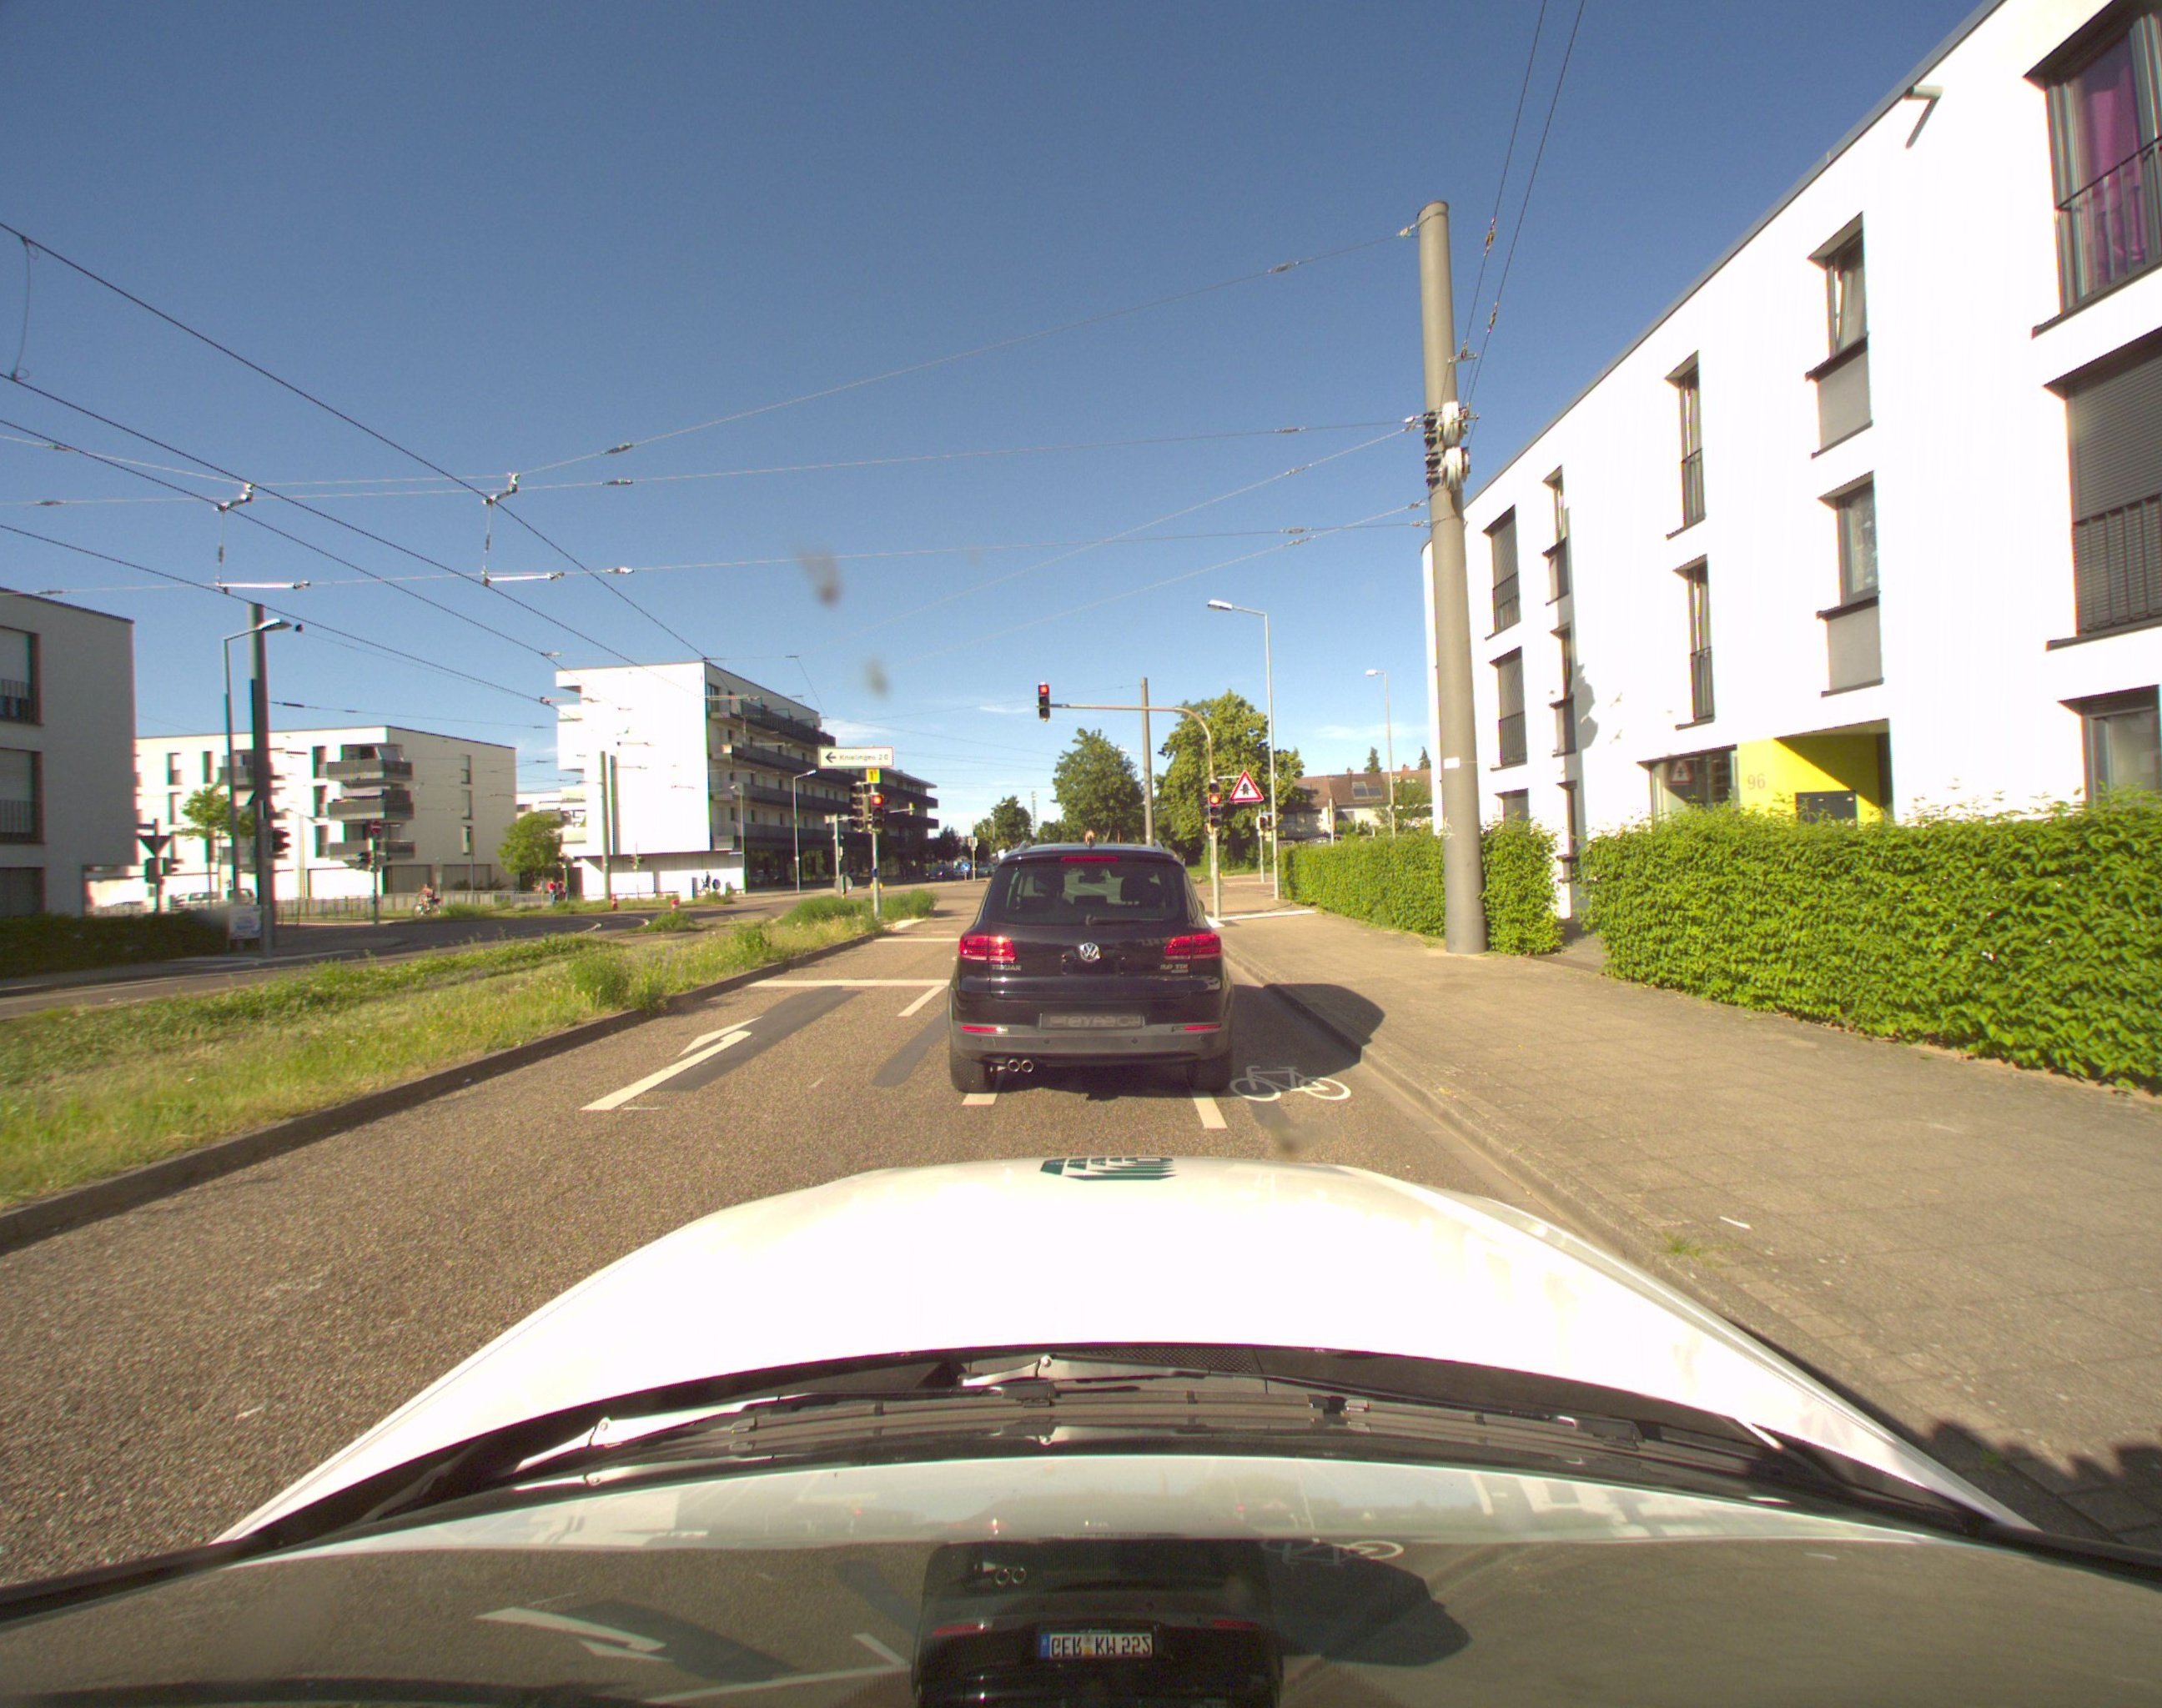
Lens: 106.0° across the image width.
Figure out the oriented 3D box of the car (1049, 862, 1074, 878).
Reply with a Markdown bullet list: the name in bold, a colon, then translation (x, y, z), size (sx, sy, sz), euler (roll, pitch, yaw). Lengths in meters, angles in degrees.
- **car**: translation (-2.013, 1.695, 85.765), size (1.852, 1.485, 4.121), euler (-3, 0, 9)

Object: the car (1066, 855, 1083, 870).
- **car**: translation (-0.822, 1.084, 103.810), size (1.855, 1.720, 3.690), euler (-2, 0, 4)

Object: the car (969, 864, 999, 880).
- **car**: translation (-10.127, 1.837, 85.589), size (1.981, 1.574, 4.350), euler (-1, -1, 9)

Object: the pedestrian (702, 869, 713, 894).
- **pedestrian**: translation (-26.247, 1.931, 57.271), size (0.542, 1.744, 0.517), euler (0, -1, -4)

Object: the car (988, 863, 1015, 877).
- **car**: translation (-8.868, 1.773, 91.458), size (1.981, 1.574, 4.350), euler (-1, -1, 9)

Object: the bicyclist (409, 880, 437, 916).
- **bicyclist**: translation (-30.657, 2.034, 37.953), size (0.781, 1.614, 0.640), euler (0, -1, -4)

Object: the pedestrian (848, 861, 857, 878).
- **pedestrian**: translation (-20.661, 1.435, 73.800), size (0.640, 1.509, 0.596), euler (0, -1, -1)

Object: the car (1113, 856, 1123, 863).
- **car**: translation (8.562, 1.215, 188.781), size (1.987, 1.684, 4.000), euler (0, -1, 0)

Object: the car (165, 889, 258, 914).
- **car**: translation (-58.889, 3.180, 55.217), size (4.305, 1.574, 2.002), euler (0, -1, 4)

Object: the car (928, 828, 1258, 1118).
- **car**: translation (0.129, 0.693, 6.635), size (1.862, 1.637, 4.001), euler (0, -1, 2)

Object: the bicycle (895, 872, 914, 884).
- **bicycle**: translation (-15.426, 2.045, 71.065), size (0.766, 0.989, 2.438), euler (-1, -1, 9)

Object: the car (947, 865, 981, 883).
- **car**: translation (-11.293, 1.917, 78.889), size (1.981, 1.574, 4.350), euler (-1, -1, 9)

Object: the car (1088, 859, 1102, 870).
- **car**: translation (2.364, 1.727, 136.170), size (1.984, 1.836, 4.005), euler (0, -1, 5)

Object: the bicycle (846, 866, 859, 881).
- **bicycle**: translation (-20.661, 1.792, 73.789), size (0.628, 1.332, 1.912), euler (0, -1, 0)

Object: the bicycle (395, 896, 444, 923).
- **bicycle**: translation (-30.685, 2.566, 37.803), size (0.818, 1.124, 1.858), euler (0, -1, -4)

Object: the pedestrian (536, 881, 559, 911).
- **pedestrian**: translation (-29.495, 2.300, 45.032), size (0.770, 1.605, 0.741), euler (0, -1, -5)

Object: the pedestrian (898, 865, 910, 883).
- **pedestrian**: translation (-15.437, 1.736, 70.993), size (0.707, 1.474, 0.956), euler (-1, -1, 9)

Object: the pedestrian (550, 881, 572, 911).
- **pedestrian**: translation (-28.662, 2.293, 44.886), size (0.770, 1.605, 0.741), euler (0, -1, -5)

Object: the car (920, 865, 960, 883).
- **car**: translation (-12.383, 1.750, 71.922), size (1.980, 1.574, 4.353), euler (-1, -1, 11)
